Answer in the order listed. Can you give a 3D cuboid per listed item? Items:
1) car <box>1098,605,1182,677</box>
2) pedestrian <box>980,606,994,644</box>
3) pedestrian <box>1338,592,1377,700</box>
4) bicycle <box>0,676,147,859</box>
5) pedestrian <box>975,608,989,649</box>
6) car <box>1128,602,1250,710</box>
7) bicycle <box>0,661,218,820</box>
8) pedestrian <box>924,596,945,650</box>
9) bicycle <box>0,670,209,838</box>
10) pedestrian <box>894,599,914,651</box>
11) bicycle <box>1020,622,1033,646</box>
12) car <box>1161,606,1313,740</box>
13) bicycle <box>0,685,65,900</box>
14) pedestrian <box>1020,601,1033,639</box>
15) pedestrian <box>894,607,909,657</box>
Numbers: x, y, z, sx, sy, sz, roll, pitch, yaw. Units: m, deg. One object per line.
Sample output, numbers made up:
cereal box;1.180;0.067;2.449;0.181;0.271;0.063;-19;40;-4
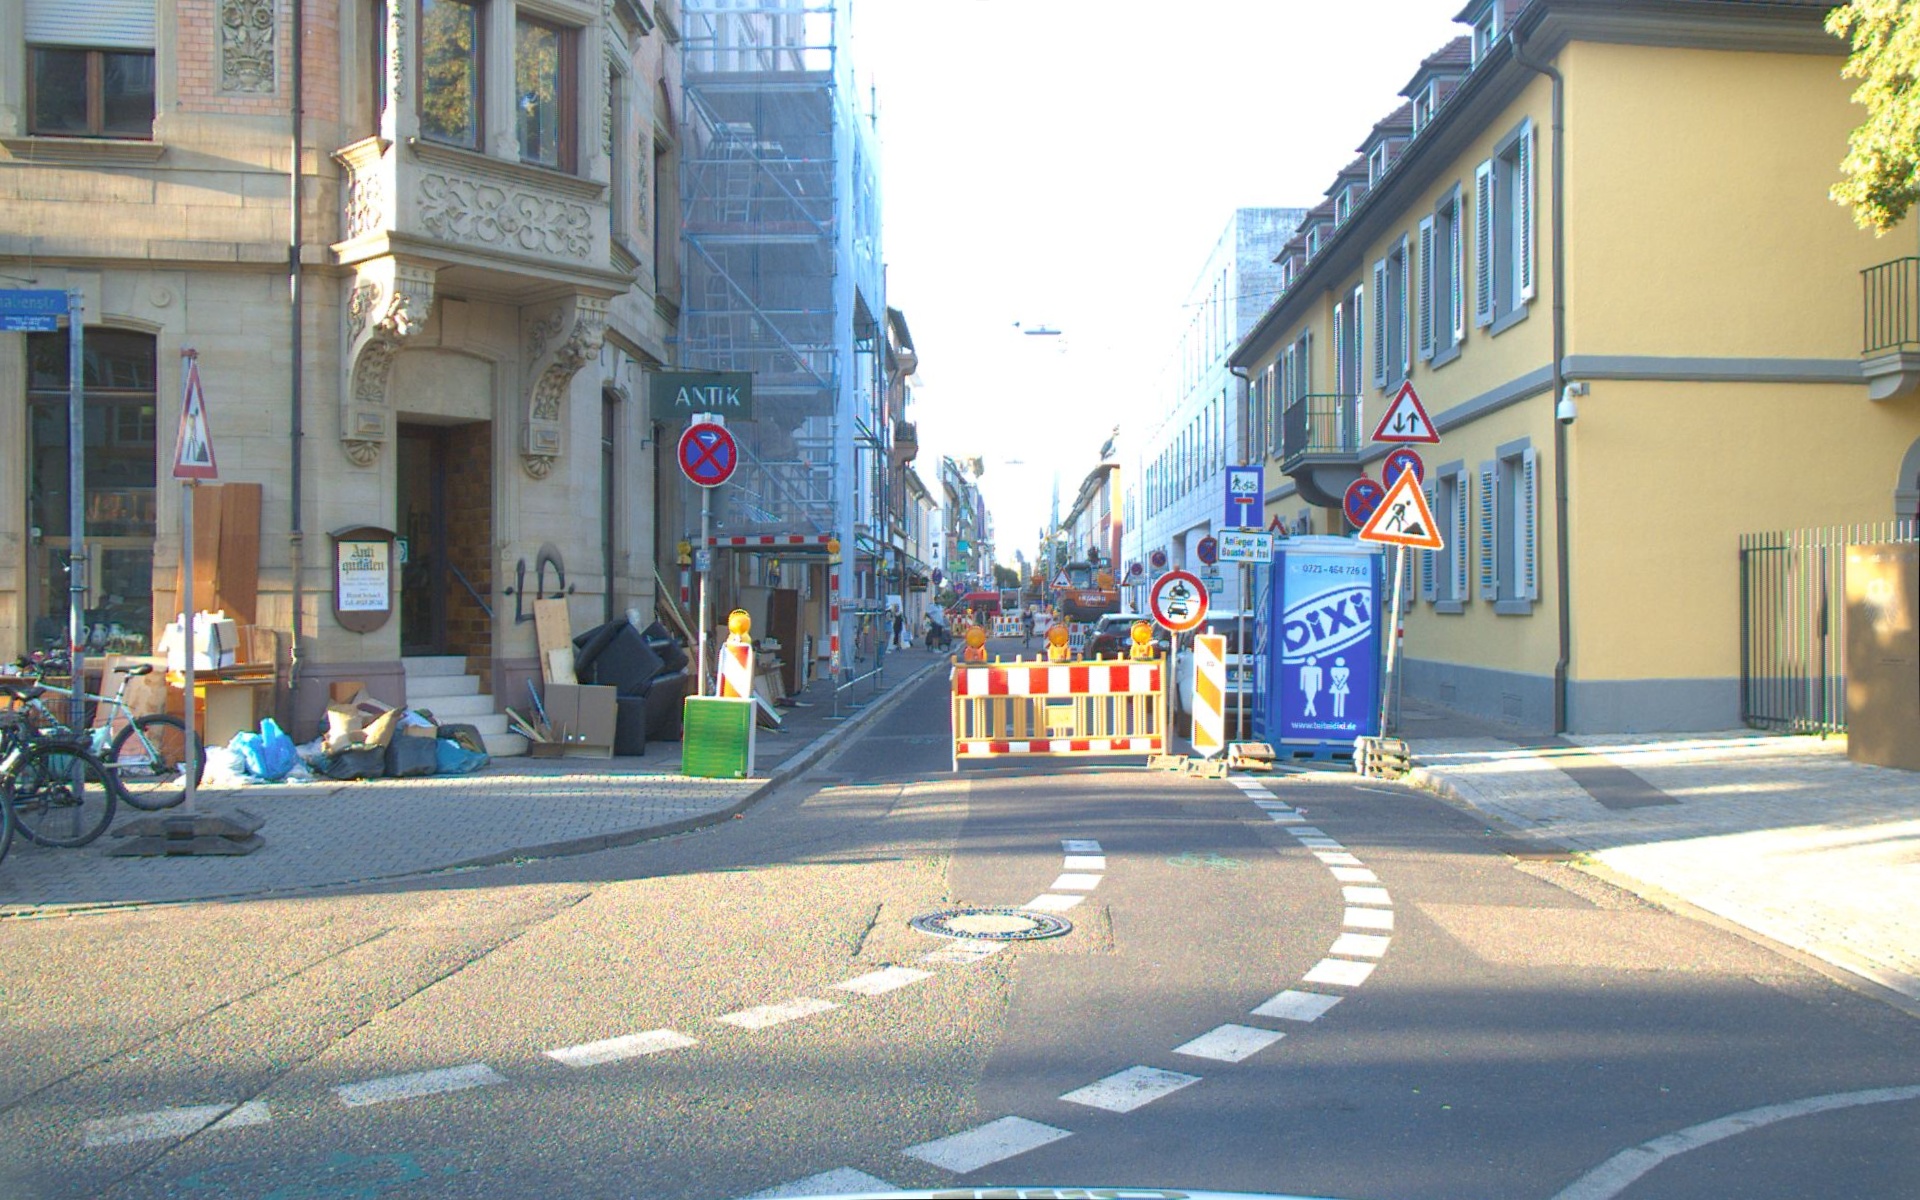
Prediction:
car;4.075;0.897;37.812;1.682;1.546;3.222;0;0;2
pedestrian;1.059;0.971;64.246;0.494;1.487;0.513;0;0;8
pedestrian;6.034;0.691;25.116;0.457;1.623;0.673;0;0;5
bicycle;-5.933;0.993;9.902;1.792;1.031;0.638;0;0;-10
pedestrian;0.806;1.053;61.336;0.494;1.487;0.512;0;0;2
car;3.500;0.810;25.826;1.508;1.546;3.980;0;0;2
bicycle;-6.373;0.978;11.612;2.065;1.058;0.464;0;0;-10
pedestrian;-0.838;0.758;54.898;0.501;1.795;0.505;0;0;-39
bicycle;-6.105;0.996;10.829;2.065;1.031;0.638;0;0;-10
pedestrian;-1.916;0.851;56.528;0.662;1.763;0.699;0;-1;-1
bicycle;2.587;1.325;64.396;0.494;0.899;1.477;0;0;2
car;3.467;0.863;21.176;1.508;1.546;3.222;1;0;2
bicycle;-5.764;1.001;8.670;1.791;1.065;0.571;0;0;-6
pedestrian;2.580;0.780;64.345;0.494;1.487;0.512;0;0;3
pedestrian;-1.858;1.023;52.750;0.335;1.594;0.420;0;-1;24
